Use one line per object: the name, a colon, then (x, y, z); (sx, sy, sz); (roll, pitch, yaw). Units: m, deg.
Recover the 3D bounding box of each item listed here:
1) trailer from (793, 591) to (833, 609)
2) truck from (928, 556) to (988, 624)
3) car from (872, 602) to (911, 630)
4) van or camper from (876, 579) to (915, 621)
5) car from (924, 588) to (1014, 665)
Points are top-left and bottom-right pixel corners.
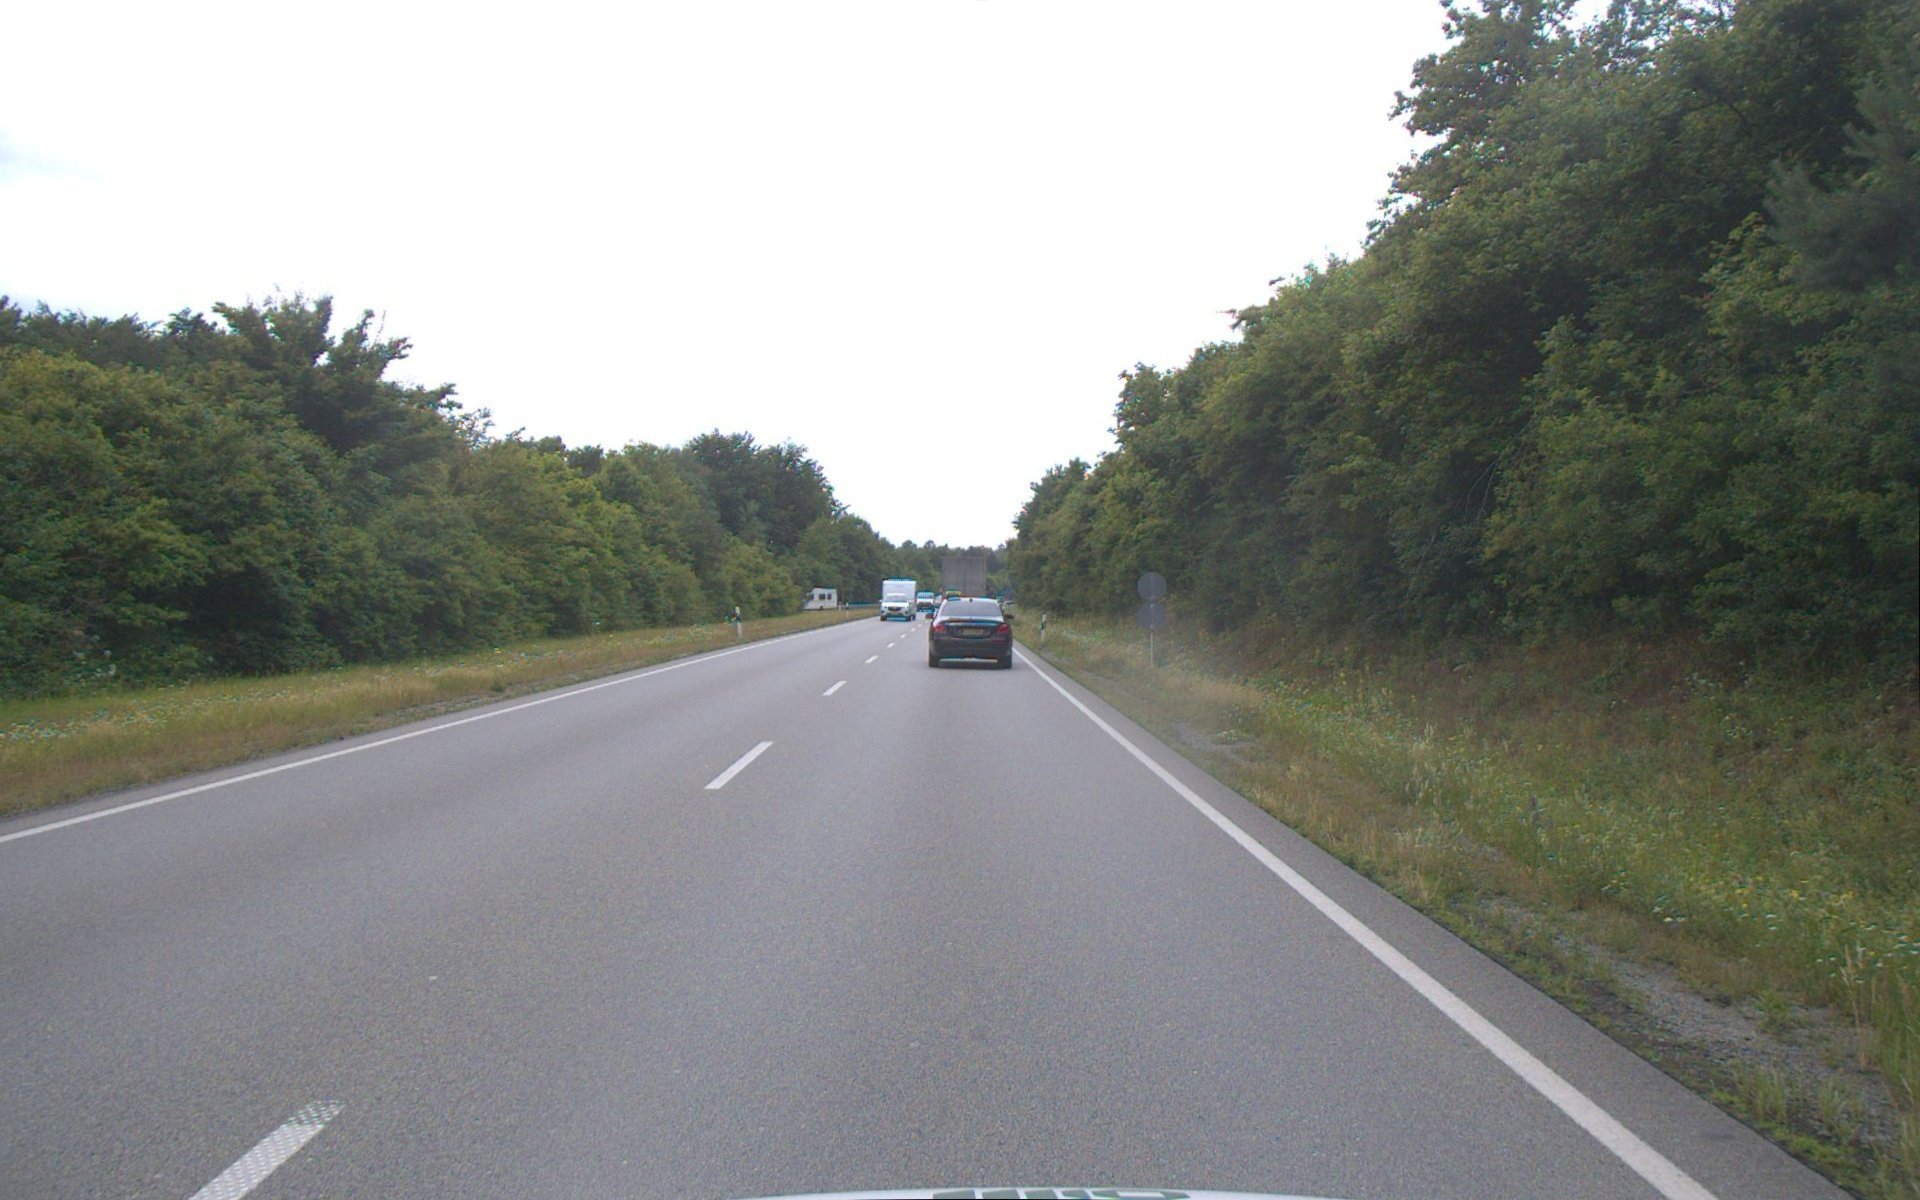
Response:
trailer: (-17.129, 0.018, 192.870); (1.958, 2.049, 5.108); (1, 0, 33)
truck: (0.001, -0.548, 97.529); (3.213, 3.675, 11.401); (1, 0, 1)
car: (-4.228, 0.984, 102.788); (2.232, 1.631, 4.691); (1, 0, 0)
van or camper: (-4.181, 0.001, 108.416); (2.331, 2.620, 6.279); (1, 0, 0)
car: (0.152, 0.555, 36.489); (1.755, 1.579, 3.998); (1, 0, -3)
